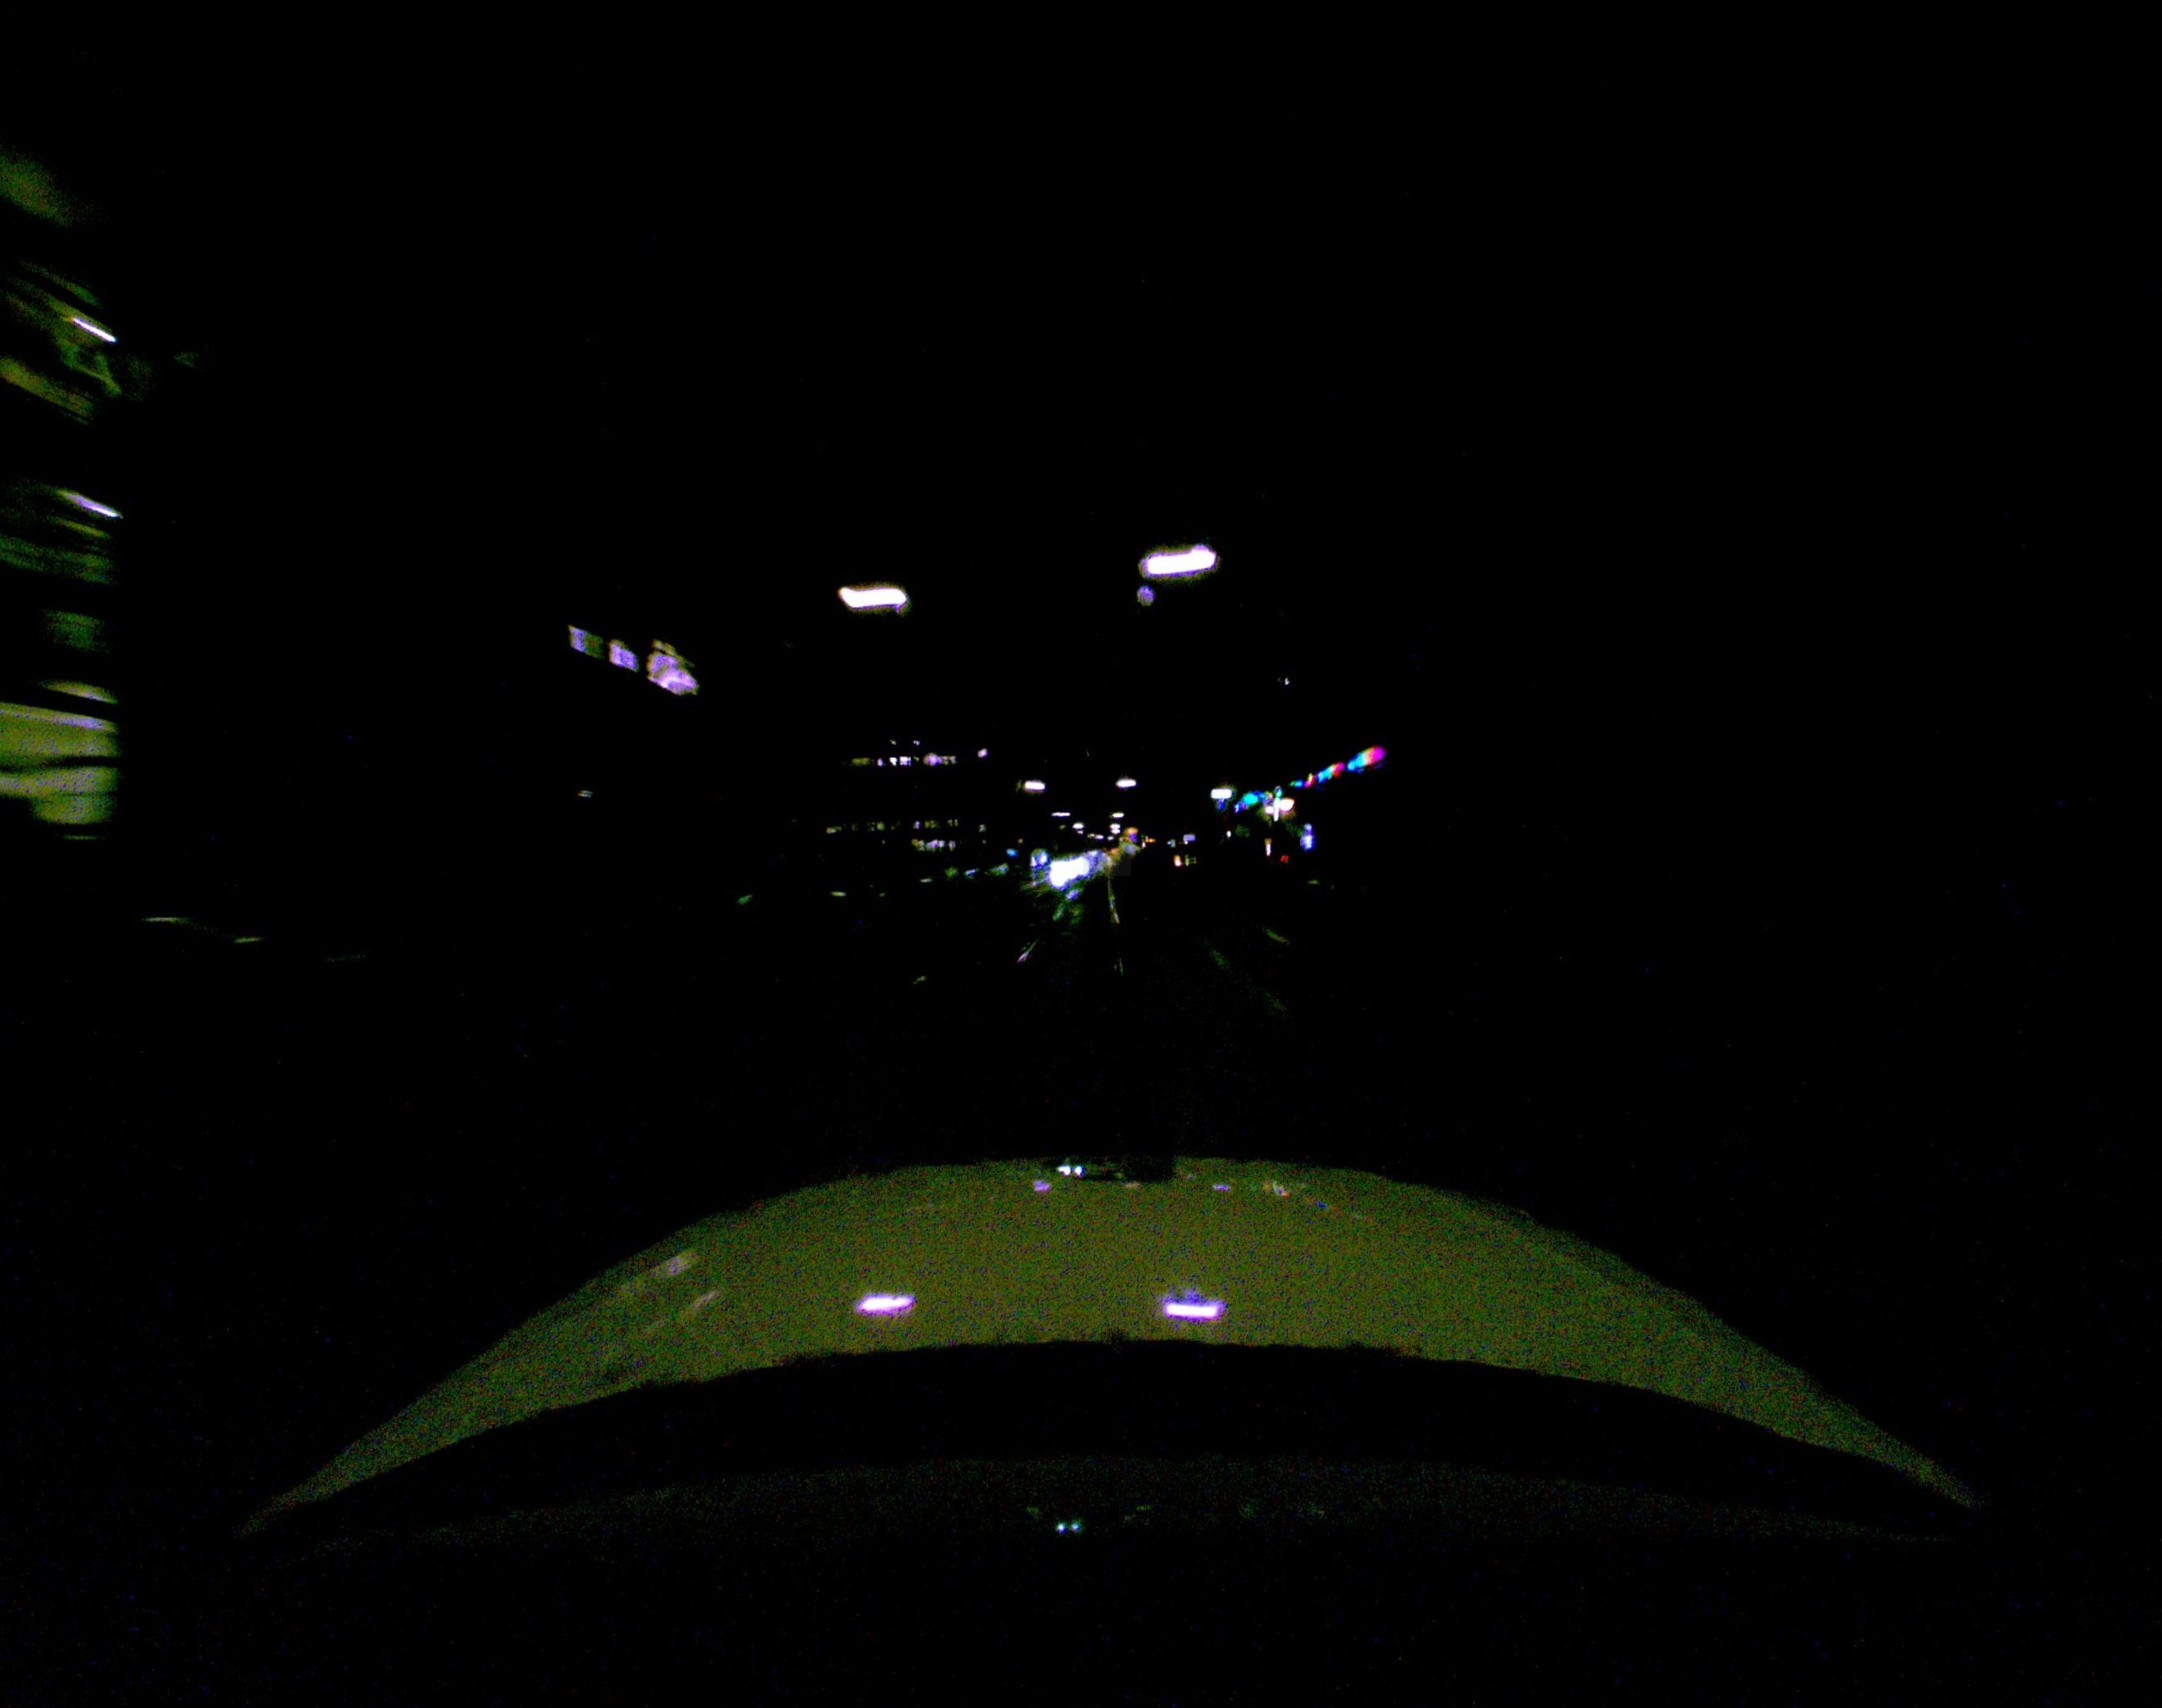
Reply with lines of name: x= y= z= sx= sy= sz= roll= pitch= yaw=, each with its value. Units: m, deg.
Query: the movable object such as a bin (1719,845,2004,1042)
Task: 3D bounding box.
movable object such as a bin: x=6.221 y=0.677 z=6.607 sx=1.202 sy=1.422 sz=1.103 roll=-3 pitch=-1 yaw=7

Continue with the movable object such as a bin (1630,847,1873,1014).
movable object such as a bin: x=6.270 y=0.689 z=7.728 sx=1.361 sy=1.422 sz=1.075 roll=-3 pitch=-1 yaw=7

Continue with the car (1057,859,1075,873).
car: x=-1.586 y=1.275 z=87.740 sx=1.769 sy=1.517 sz=4.053 roll=-1 pitch=0 yaw=2

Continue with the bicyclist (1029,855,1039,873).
bicyclist: x=-4.544 y=0.945 z=78.901 sx=0.779 sy=1.655 sz=1.206 roll=-3 pitch=-1 yaw=2

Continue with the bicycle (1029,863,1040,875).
bicycle: x=-4.516 y=1.470 z=78.888 sx=0.779 sy=1.082 sz=1.919 roll=-3 pitch=-1 yaw=2

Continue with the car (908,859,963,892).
car: x=-7.742 y=1.126 z=43.694 sx=1.976 sy=1.631 sz=4.518 roll=-1 pitch=-1 yaw=1

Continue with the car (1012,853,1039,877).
car: x=-6.272 y=1.172 z=93.315 sx=2.176 sy=2.591 sz=6.398 roll=-1 pitch=0 yaw=4

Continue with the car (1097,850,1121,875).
car: x=2.756 y=0.838 z=80.479 sx=2.236 sy=2.361 sz=4.393 roll=-1 pitch=-1 yaw=0

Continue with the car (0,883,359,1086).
car: x=-8.990 y=1.043 z=7.004 sx=1.835 sy=1.423 sz=4.206 roll=-2 pitch=0 yaw=-1

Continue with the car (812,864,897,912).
car: x=-8.172 y=1.176 z=29.821 sx=1.875 sy=1.545 sz=4.397 roll=2 pitch=-1 yaw=-1

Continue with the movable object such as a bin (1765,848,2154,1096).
movable object such as a bin: x=5.756 y=0.708 z=5.454 sx=1.319 sy=1.408 sz=1.158 roll=-3 pitch=-1 yaw=-4

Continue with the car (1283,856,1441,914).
car: x=8.163 y=0.852 z=23.655 sx=4.111 sy=1.537 sz=1.945 roll=-1 pitch=-1 yaw=-24

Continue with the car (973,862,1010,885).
car: x=-6.740 y=1.441 z=61.799 sx=1.961 sy=1.655 sz=4.604 roll=1 pitch=0 yaw=3

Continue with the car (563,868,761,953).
car: x=-8.743 y=1.093 z=17.599 sx=1.883 sy=1.463 sz=4.955 roll=-2 pitch=0 yaw=-3

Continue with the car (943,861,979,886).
car: x=-7.460 y=1.192 z=50.906 sx=1.686 sy=1.421 sz=3.912 roll=-2 pitch=0 yaw=-1
